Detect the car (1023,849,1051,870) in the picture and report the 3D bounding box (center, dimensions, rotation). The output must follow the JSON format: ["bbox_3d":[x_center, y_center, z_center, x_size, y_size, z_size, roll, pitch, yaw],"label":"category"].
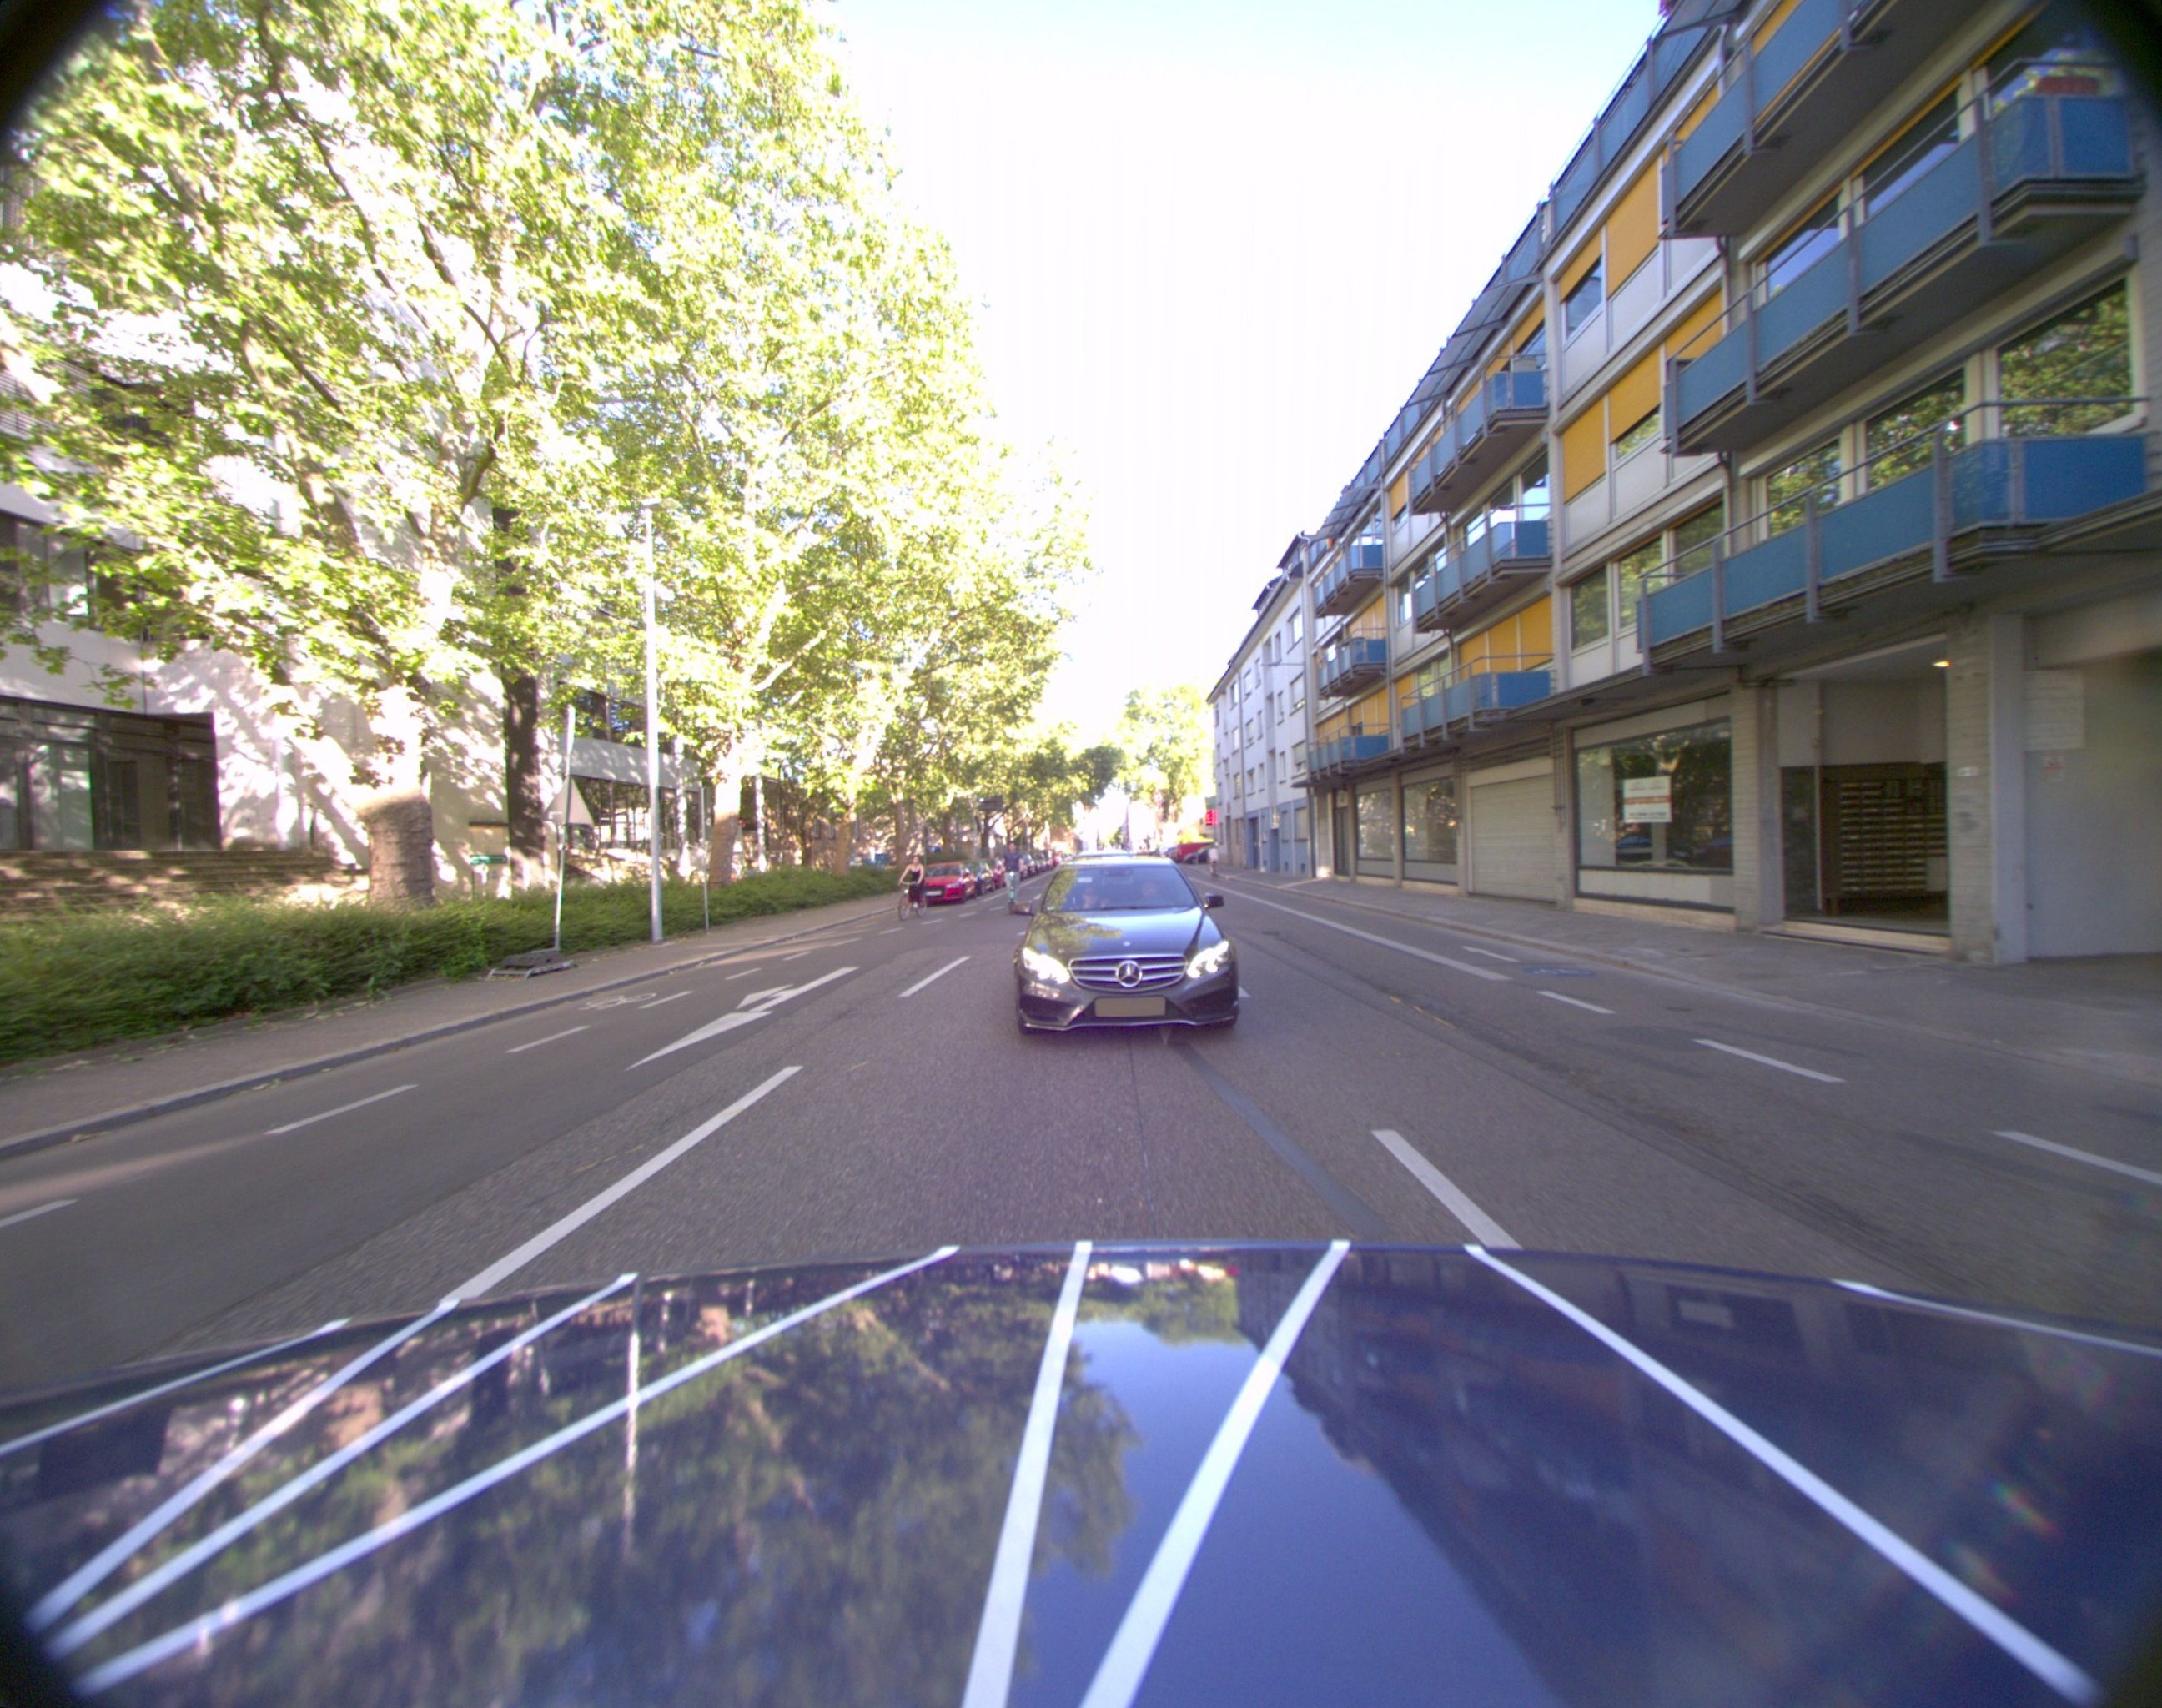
[{"bbox_3d":[-3.662,0.440,63.928,1.898,1.642,4.077,-2,1,3],"label":"car"}]

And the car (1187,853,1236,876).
[{"bbox_3d":[11.644,0.963,67.910,3.997,1.825,1.830,-2,1,0],"label":"car"}]

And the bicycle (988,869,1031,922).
[{"bbox_3d":[-1.831,1.048,19.969,0.770,1.129,2.815,-4,1,1],"label":"bicycle"}]

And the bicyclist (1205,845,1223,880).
[{"bbox_3d":[6.286,0.396,35.969,0.692,1.621,0.758,-1,2,0],"label":"bicyclist"}]

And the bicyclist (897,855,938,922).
[{"bbox_3d":[-4.355,0.899,20.283,0.770,1.670,0.895,-4,2,1],"label":"bicyclist"}]

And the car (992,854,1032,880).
[{"bbox_3d":[-4.166,0.770,46.453,1.898,1.443,4.077,-2,1,3],"label":"car"}]

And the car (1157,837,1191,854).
[{"bbox_3d":[12.029,-1.062,98.372,3.997,2.002,1.999,-2,1,0],"label":"car"}]

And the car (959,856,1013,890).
[{"bbox_3d":[-4.573,0.868,37.071,1.898,1.443,4.077,-2,1,3],"label":"car"}]

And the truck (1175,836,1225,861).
[{"bbox_3d":[11.444,-0.524,73.162,4.403,2.146,1.877,-2,1,0],"label":"truck"}]

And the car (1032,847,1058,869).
[{"bbox_3d":[-3.221,0.360,68.675,1.898,1.841,4.077,-2,1,3],"label":"car"}]

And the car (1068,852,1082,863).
[{"bbox_3d":[-0.945,0.561,115.805,1.898,1.542,4.077,-2,1,3],"label":"car"}]

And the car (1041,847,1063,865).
[{"bbox_3d":[-3.003,0.177,79.662,1.898,1.807,4.077,-2,1,3],"label":"car"}]

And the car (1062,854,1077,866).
[{"bbox_3d":[-1.582,0.771,105.767,1.898,1.542,4.077,-2,1,3],"label":"car"}]

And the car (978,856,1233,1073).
[{"bbox_3d":[0.333,0.818,7.856,1.798,1.460,4.720,-2,1,4],"label":"car"}]

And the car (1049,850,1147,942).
[{"bbox_3d":[0.376,0.775,16.050,1.747,1.594,4.000,-2,1,2],"label":"car"}]

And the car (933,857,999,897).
[{"bbox_3d":[-4.679,0.901,31.569,1.898,1.439,4.077,-2,1,3],"label":"car"}]

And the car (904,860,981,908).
[{"bbox_3d":[-4.804,1.007,26.852,1.898,1.435,4.076,-2,1,0],"label":"car"}]

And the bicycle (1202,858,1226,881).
[{"bbox_3d":[6.301,0.721,36.053,0.692,0.980,2.631,-1,1,1],"label":"bicycle"}]

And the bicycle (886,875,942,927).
[{"bbox_3d":[-4.353,1.201,20.040,0.770,1.129,2.815,-2,1,1],"label":"bicycle"}]

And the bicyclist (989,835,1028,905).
[{"bbox_3d":[-1.891,0.407,19.981,0.770,1.723,0.901,-6,2,1],"label":"bicyclist"}]
